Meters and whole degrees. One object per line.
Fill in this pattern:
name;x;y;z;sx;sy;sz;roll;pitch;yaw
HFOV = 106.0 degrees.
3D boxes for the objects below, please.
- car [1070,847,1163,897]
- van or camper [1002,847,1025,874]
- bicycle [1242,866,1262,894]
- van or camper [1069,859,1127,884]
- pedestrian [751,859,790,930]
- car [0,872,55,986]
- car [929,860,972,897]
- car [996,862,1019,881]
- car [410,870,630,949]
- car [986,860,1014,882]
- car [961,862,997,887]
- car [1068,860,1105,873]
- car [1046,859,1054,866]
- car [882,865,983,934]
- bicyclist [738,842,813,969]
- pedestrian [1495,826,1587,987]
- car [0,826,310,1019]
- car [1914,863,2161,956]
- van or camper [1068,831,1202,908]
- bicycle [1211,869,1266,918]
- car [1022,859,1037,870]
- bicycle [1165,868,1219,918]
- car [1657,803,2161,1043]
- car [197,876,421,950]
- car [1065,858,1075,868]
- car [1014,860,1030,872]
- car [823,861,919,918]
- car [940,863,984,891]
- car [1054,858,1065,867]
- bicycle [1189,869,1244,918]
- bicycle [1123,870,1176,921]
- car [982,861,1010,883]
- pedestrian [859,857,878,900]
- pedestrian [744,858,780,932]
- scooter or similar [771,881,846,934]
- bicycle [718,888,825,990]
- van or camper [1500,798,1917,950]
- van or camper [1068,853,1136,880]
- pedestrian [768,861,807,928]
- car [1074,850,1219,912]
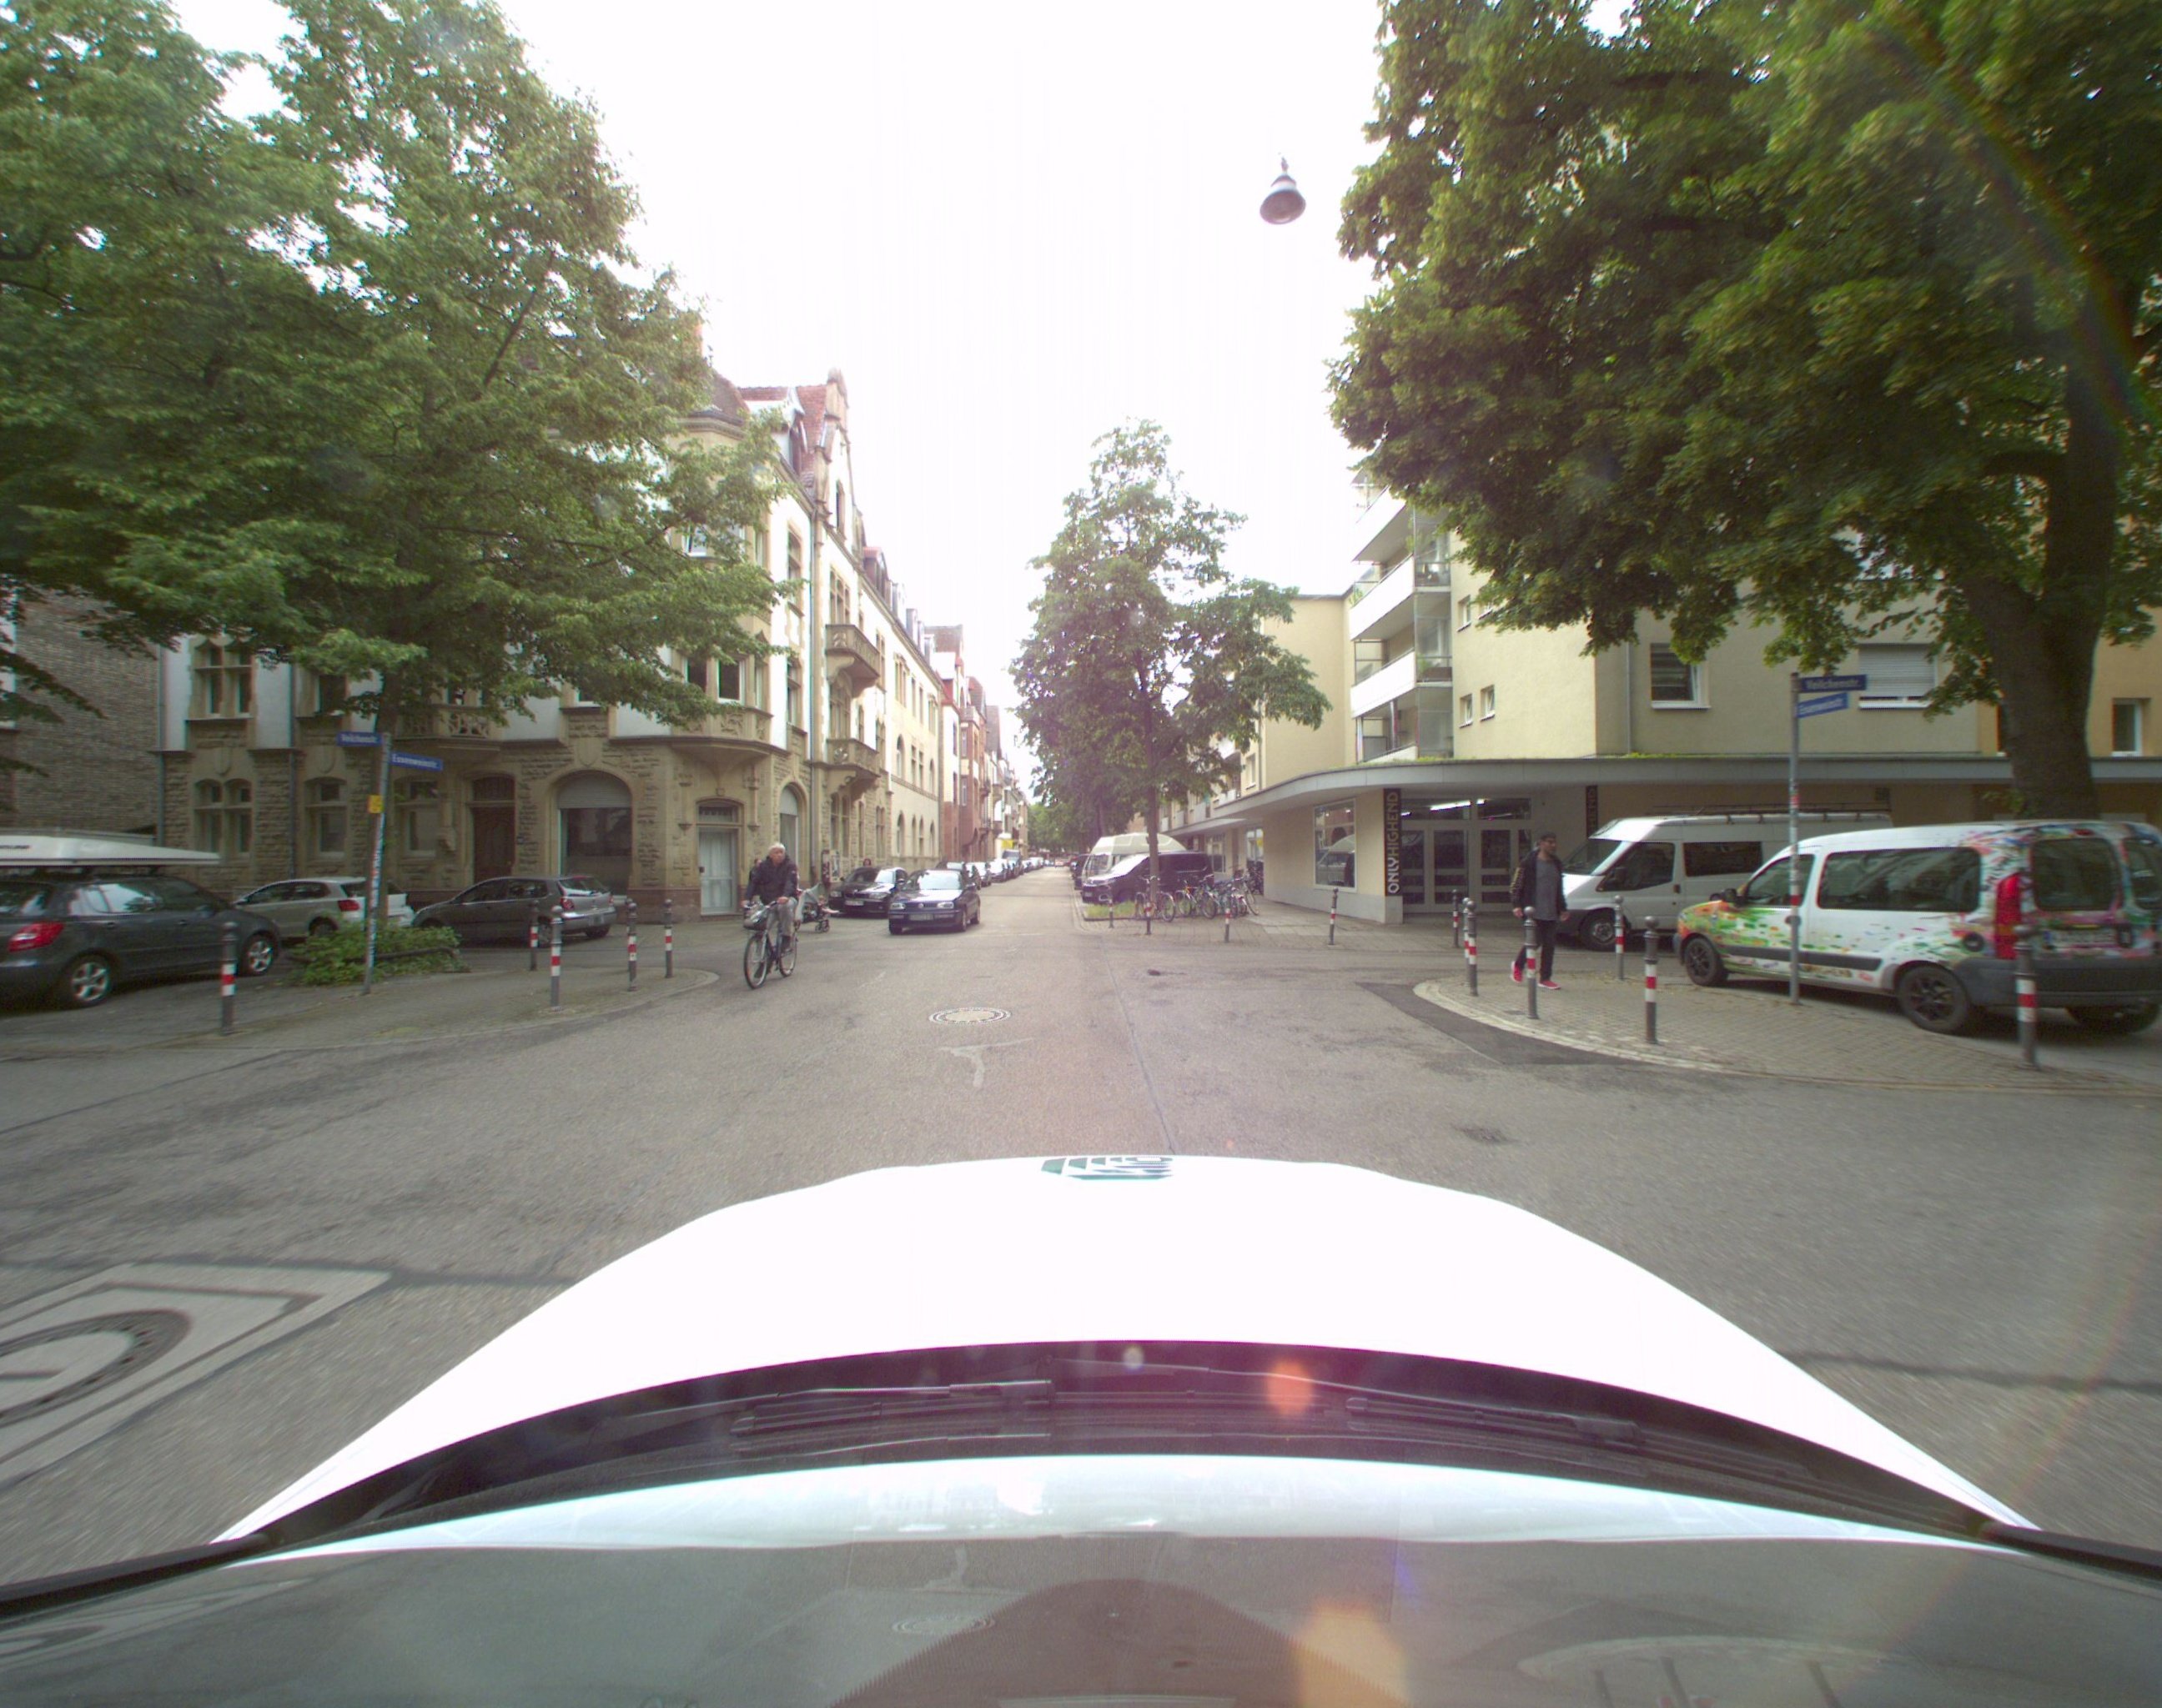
car;1.736;0.801;38.193;2.041;2.196;4.426;-1;-1;40
van or camper;-7.014;0.659;84.671;2.002;2.651;5.314;-1;1;-1
bicycle;6.913;1.022;32.964;0.483;1.090;1.701;-1;0;1
van or camper;1.506;1.563;72.985;4.755;1.994;1.982;-2;-2;-27
pedestrian;-7.272;0.937;19.085;0.612;1.643;0.605;0;0;11
car;-15.854;1.017;10.190;1.633;1.516;3.636;-1;0;34
car;-6.153;1.133;38.732;1.642;1.570;2.954;1;1;-2
car;-6.238;1.488;69.482;1.630;1.473;3.998;1;0;-1
car;-11.739;1.141;17.168;3.549;1.460;1.653;-1;1;7
car;-6.337;1.289;64.123;1.781;1.647;4.359;1;0;-1
car;-6.184;1.200;49.604;1.721;1.386;4.134;1;0;-1
car;0.652;1.490;97.583;4.037;1.559;1.865;0;-1;-32
car;-7.292;2.059;192.678;1.816;1.645;3.750;1;-2;-2
car;-3.398;1.015;19.255;1.703;1.413;3.850;-1;-1;-1
bicyclist;-3.851;0.634;10.306;0.645;1.538;0.677;-1;-1;1
pedestrian;5.276;0.583;9.362;0.776;1.797;0.509;0;0;0
car;-12.047;0.715;10.099;1.829;1.968;3.944;0;0;-13
car;17.171;0.887;13.651;4.141;1.428;1.912;-1;0;10
van or camper;1.982;0.508;29.388;4.615;2.596;1.891;0;-1;-34
bicycle;4.030;0.995;21.002;0.550;1.173;1.685;0;0;-23
car;-7.844;1.584;123.852;1.988;1.475;3.998;-1;0;-1
bicycle;2.774;0.962;20.541;0.550;1.173;1.715;0;0;-23
car;8.078;0.534;8.219;1.764;1.819;4.001;-1;0;1
car;-16.703;1.242;17.715;3.471;1.460;1.653;1;-2;7
car;-2.271;1.781;167.943;1.988;2.014;3.997;2;0;-2
car;-7.325;1.486;100.856;1.785;1.480;4.019;1;-1;-2
car;-6.024;1.008;23.847;1.704;1.495;3.999;1;-1;0
car;-6.217;1.218;42.865;1.721;1.387;3.927;1;-1;-1
car;-4.289;1.746;162.036;1.987;1.794;3.998;1;-2;0
bicycle;3.425;0.979;20.777;0.550;1.173;1.715;0;0;-23
bicycle;1.661;0.990;19.992;0.550;1.173;1.715;0;0;-23
car;-6.067;1.253;58.332;1.658;1.421;3.927;1;0;-1
pedestrian;-7.581;0.868;29.068;0.514;1.518;0.546;-1;-1;-1
pedestrian;-7.248;0.926;18.492;0.524;1.643;0.530;1;-1;11
scooter or similar;-6.230;1.206;18.651;1.460;1.104;0.678;2;0;10
bicycle;-3.838;1.016;10.259;0.631;1.094;1.799;-1;0;1
van or camper;11.006;0.303;14.738;5.743;2.494;2.140;-1;3;5
van or camper;1.674;0.991;64.587;5.036;1.869;2.107;-2;-1;-29
pedestrian;-7.147;0.960;19.837;0.623;1.593;0.674;0;-1;40
car;2.145;0.833;26.496;4.355;1.854;1.894;0;-1;-27
